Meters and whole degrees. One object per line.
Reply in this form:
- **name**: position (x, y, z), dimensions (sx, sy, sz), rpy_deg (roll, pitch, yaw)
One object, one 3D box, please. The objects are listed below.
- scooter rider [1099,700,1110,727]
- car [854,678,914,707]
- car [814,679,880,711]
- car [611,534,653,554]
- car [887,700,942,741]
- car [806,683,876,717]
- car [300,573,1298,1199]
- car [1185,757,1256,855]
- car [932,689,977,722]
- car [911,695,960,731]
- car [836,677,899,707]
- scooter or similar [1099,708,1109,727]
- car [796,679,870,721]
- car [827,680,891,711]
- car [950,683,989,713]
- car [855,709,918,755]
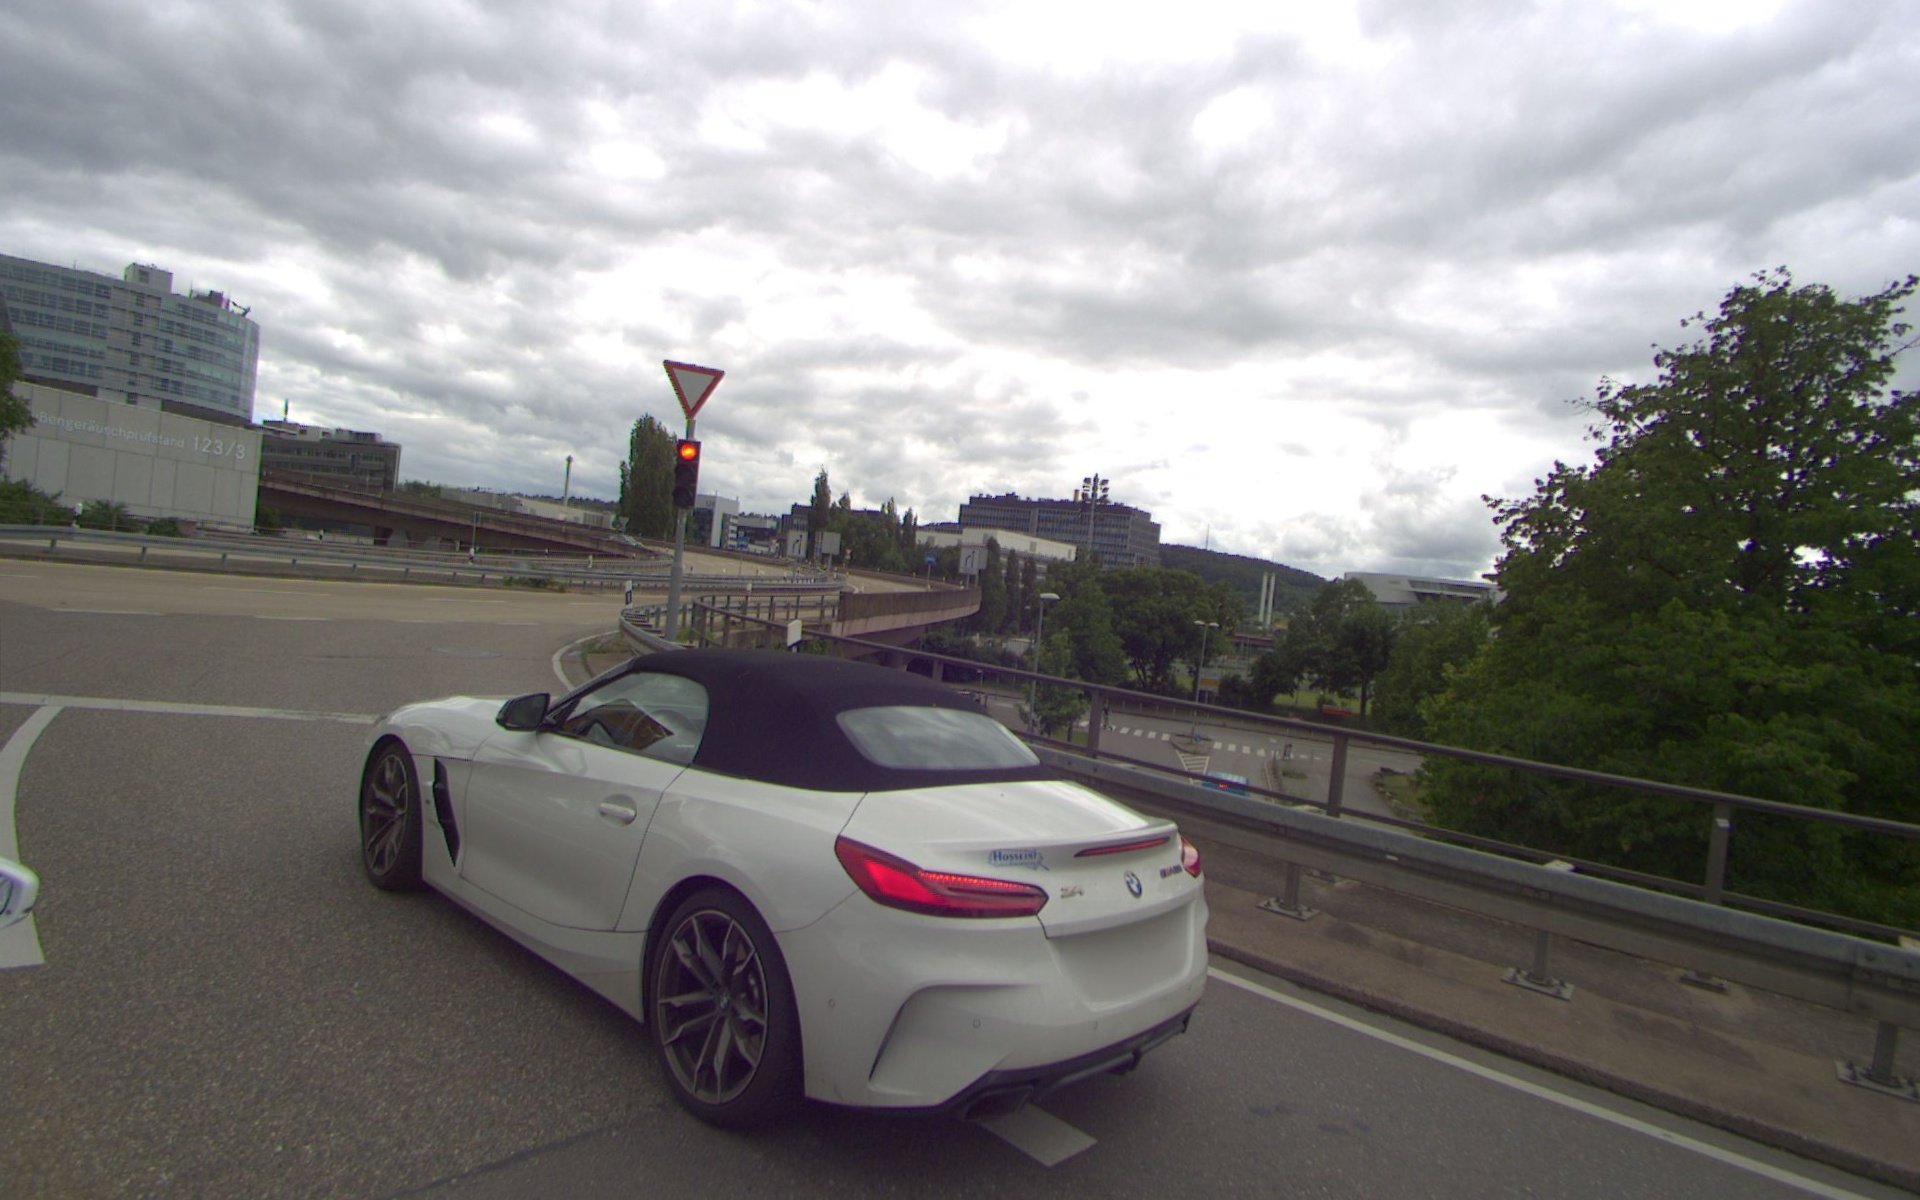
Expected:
- **scooter rider**: position (10.323, 8.099, 71.717), dimensions (0.482, 1.776, 0.548), rpy_deg (8, 2, 4)
- **car**: position (-5.405, 6.572, 71.527), dimensions (3.790, 1.371, 1.827), rpy_deg (8, 1, 8)
- **car**: position (-7.217, 6.083, 64.454), dimensions (3.790, 1.371, 1.827), rpy_deg (8, 1, 8)
- **car**: position (-37.330, -6.383, 114.593), dimensions (4.671, 1.679, 1.914), rpy_deg (7, -4, 34)
- **car**: position (-2.414, 6.476, 54.416), dimensions (1.792, 1.553, 4.001), rpy_deg (8, 0, 13)
- **car**: position (-7.331, 6.141, 61.990), dimensions (3.790, 1.371, 1.827), rpy_deg (8, 1, 8)
- **car**: position (-1.013, 0.811, 4.319), dimensions (4.202, 1.306, 1.805), rpy_deg (7, -2, 40)
- **car**: position (9.736, 7.516, 37.453), dimensions (1.978, 2.617, 5.399), rpy_deg (10, -2, 16)
- **car**: position (-0.329, 6.696, 64.213), dimensions (1.792, 1.553, 4.196), rpy_deg (8, 0, 13)
- **car**: position (-1.378, 6.578, 58.871), dimensions (1.792, 1.553, 4.001), rpy_deg (8, 0, 13)
- **car**: position (-6.306, 6.264, 68.835), dimensions (3.790, 1.371, 1.827), rpy_deg (8, 1, 8)
- **scooter or similar**: position (10.277, 8.386, 71.747), dimensions (0.482, 1.199, 1.072), rpy_deg (8, 1, 4)
- **car**: position (-7.504, 5.900, 59.639), dimensions (3.790, 1.782, 1.827), rpy_deg (8, 1, 8)
- **car**: position (-6.686, 6.315, 66.748), dimensions (3.790, 1.371, 1.827), rpy_deg (8, 1, 8)
- **car**: position (0.694, 6.842, 70.271), dimensions (1.792, 1.553, 4.001), rpy_deg (8, 0, 13)
- **car**: position (-3.504, 6.331, 48.695), dimensions (1.792, 1.553, 4.001), rpy_deg (8, 0, 13)
